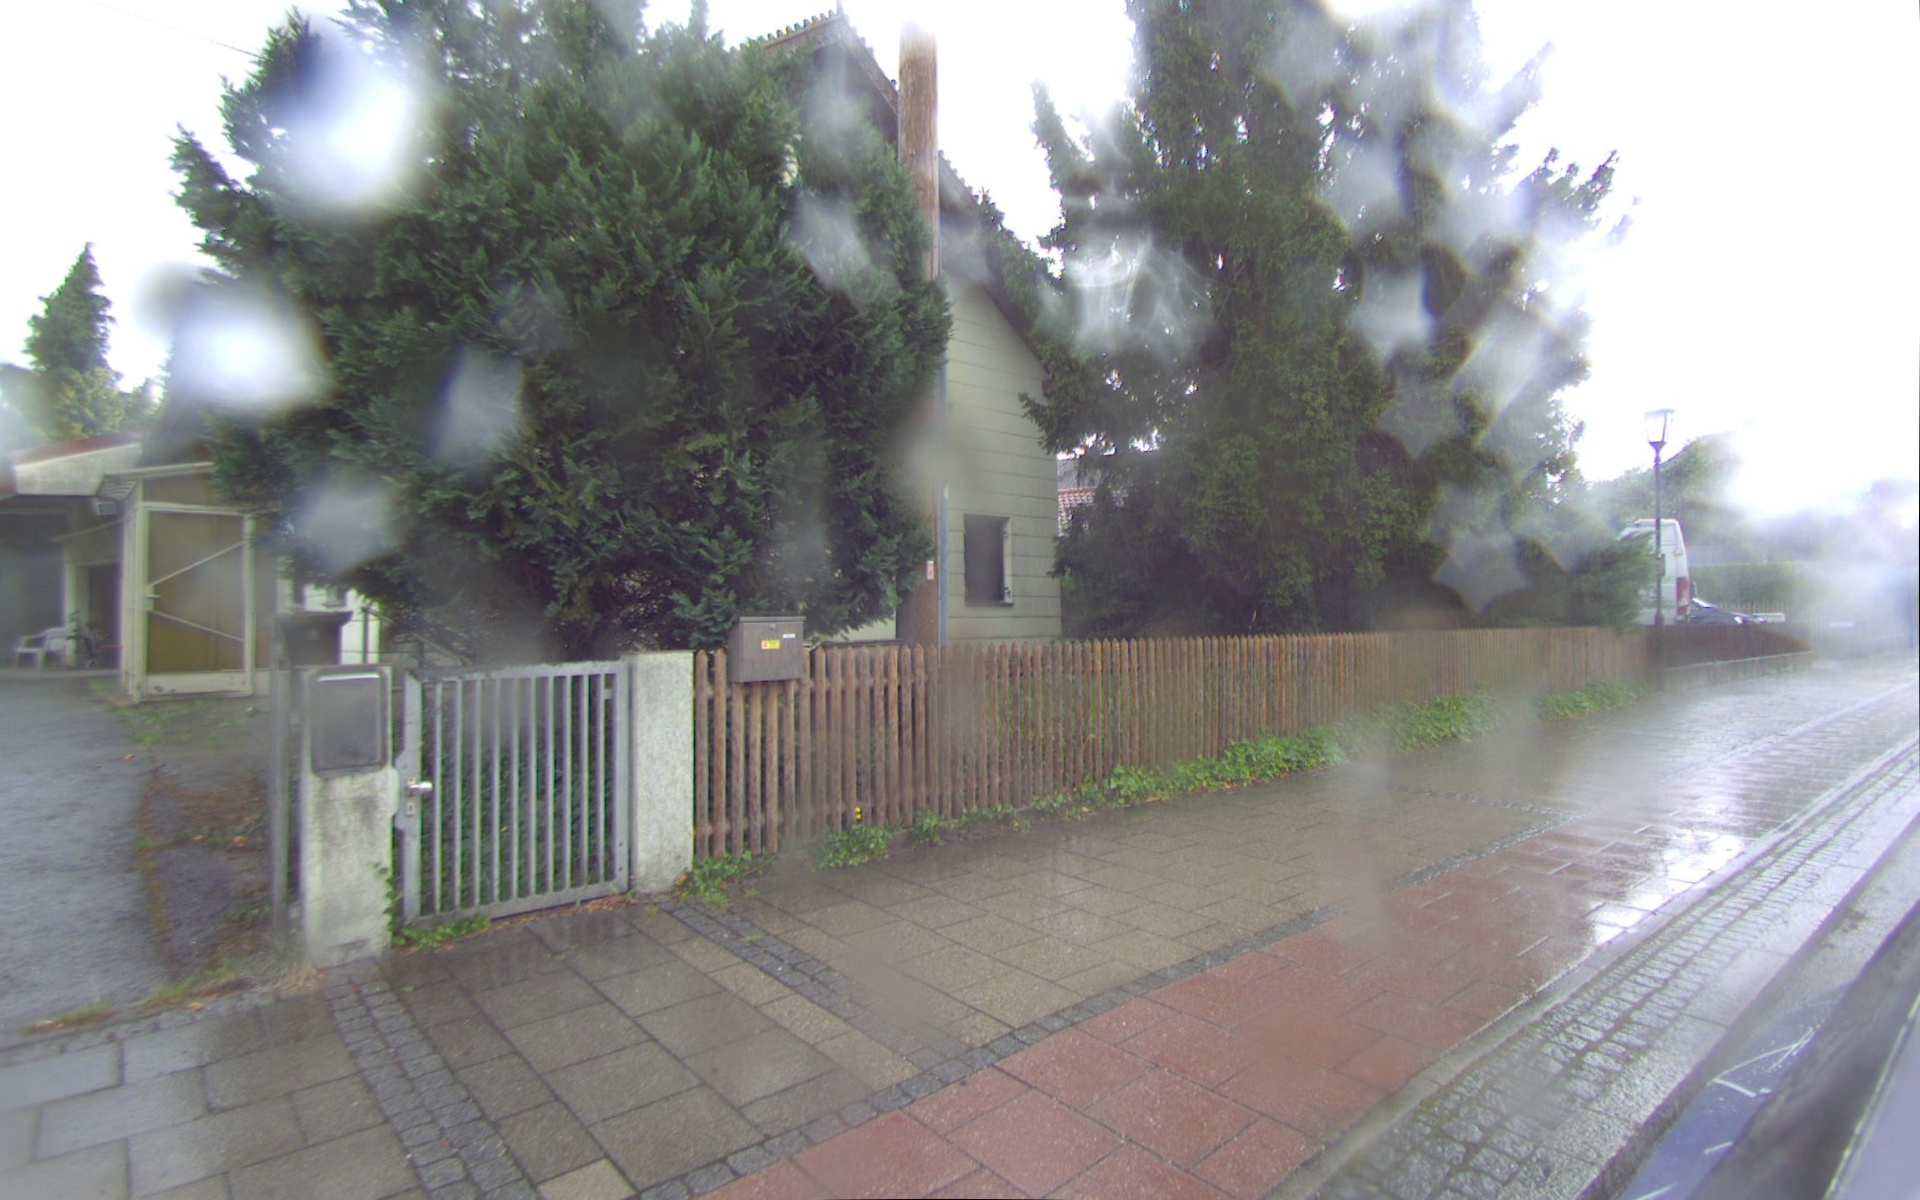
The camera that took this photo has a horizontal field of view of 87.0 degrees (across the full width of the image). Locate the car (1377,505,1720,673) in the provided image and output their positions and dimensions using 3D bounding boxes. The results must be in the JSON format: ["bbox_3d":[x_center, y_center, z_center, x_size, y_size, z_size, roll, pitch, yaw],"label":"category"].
[{"bbox_3d":[10.962,-0.285,19.139,5.299,2.761,1.971,3,2,41],"label":"car"}]

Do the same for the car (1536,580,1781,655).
[{"bbox_3d":[16.007,0.321,23.337,4.428,1.438,1.803,3,3,42],"label":"car"}]
